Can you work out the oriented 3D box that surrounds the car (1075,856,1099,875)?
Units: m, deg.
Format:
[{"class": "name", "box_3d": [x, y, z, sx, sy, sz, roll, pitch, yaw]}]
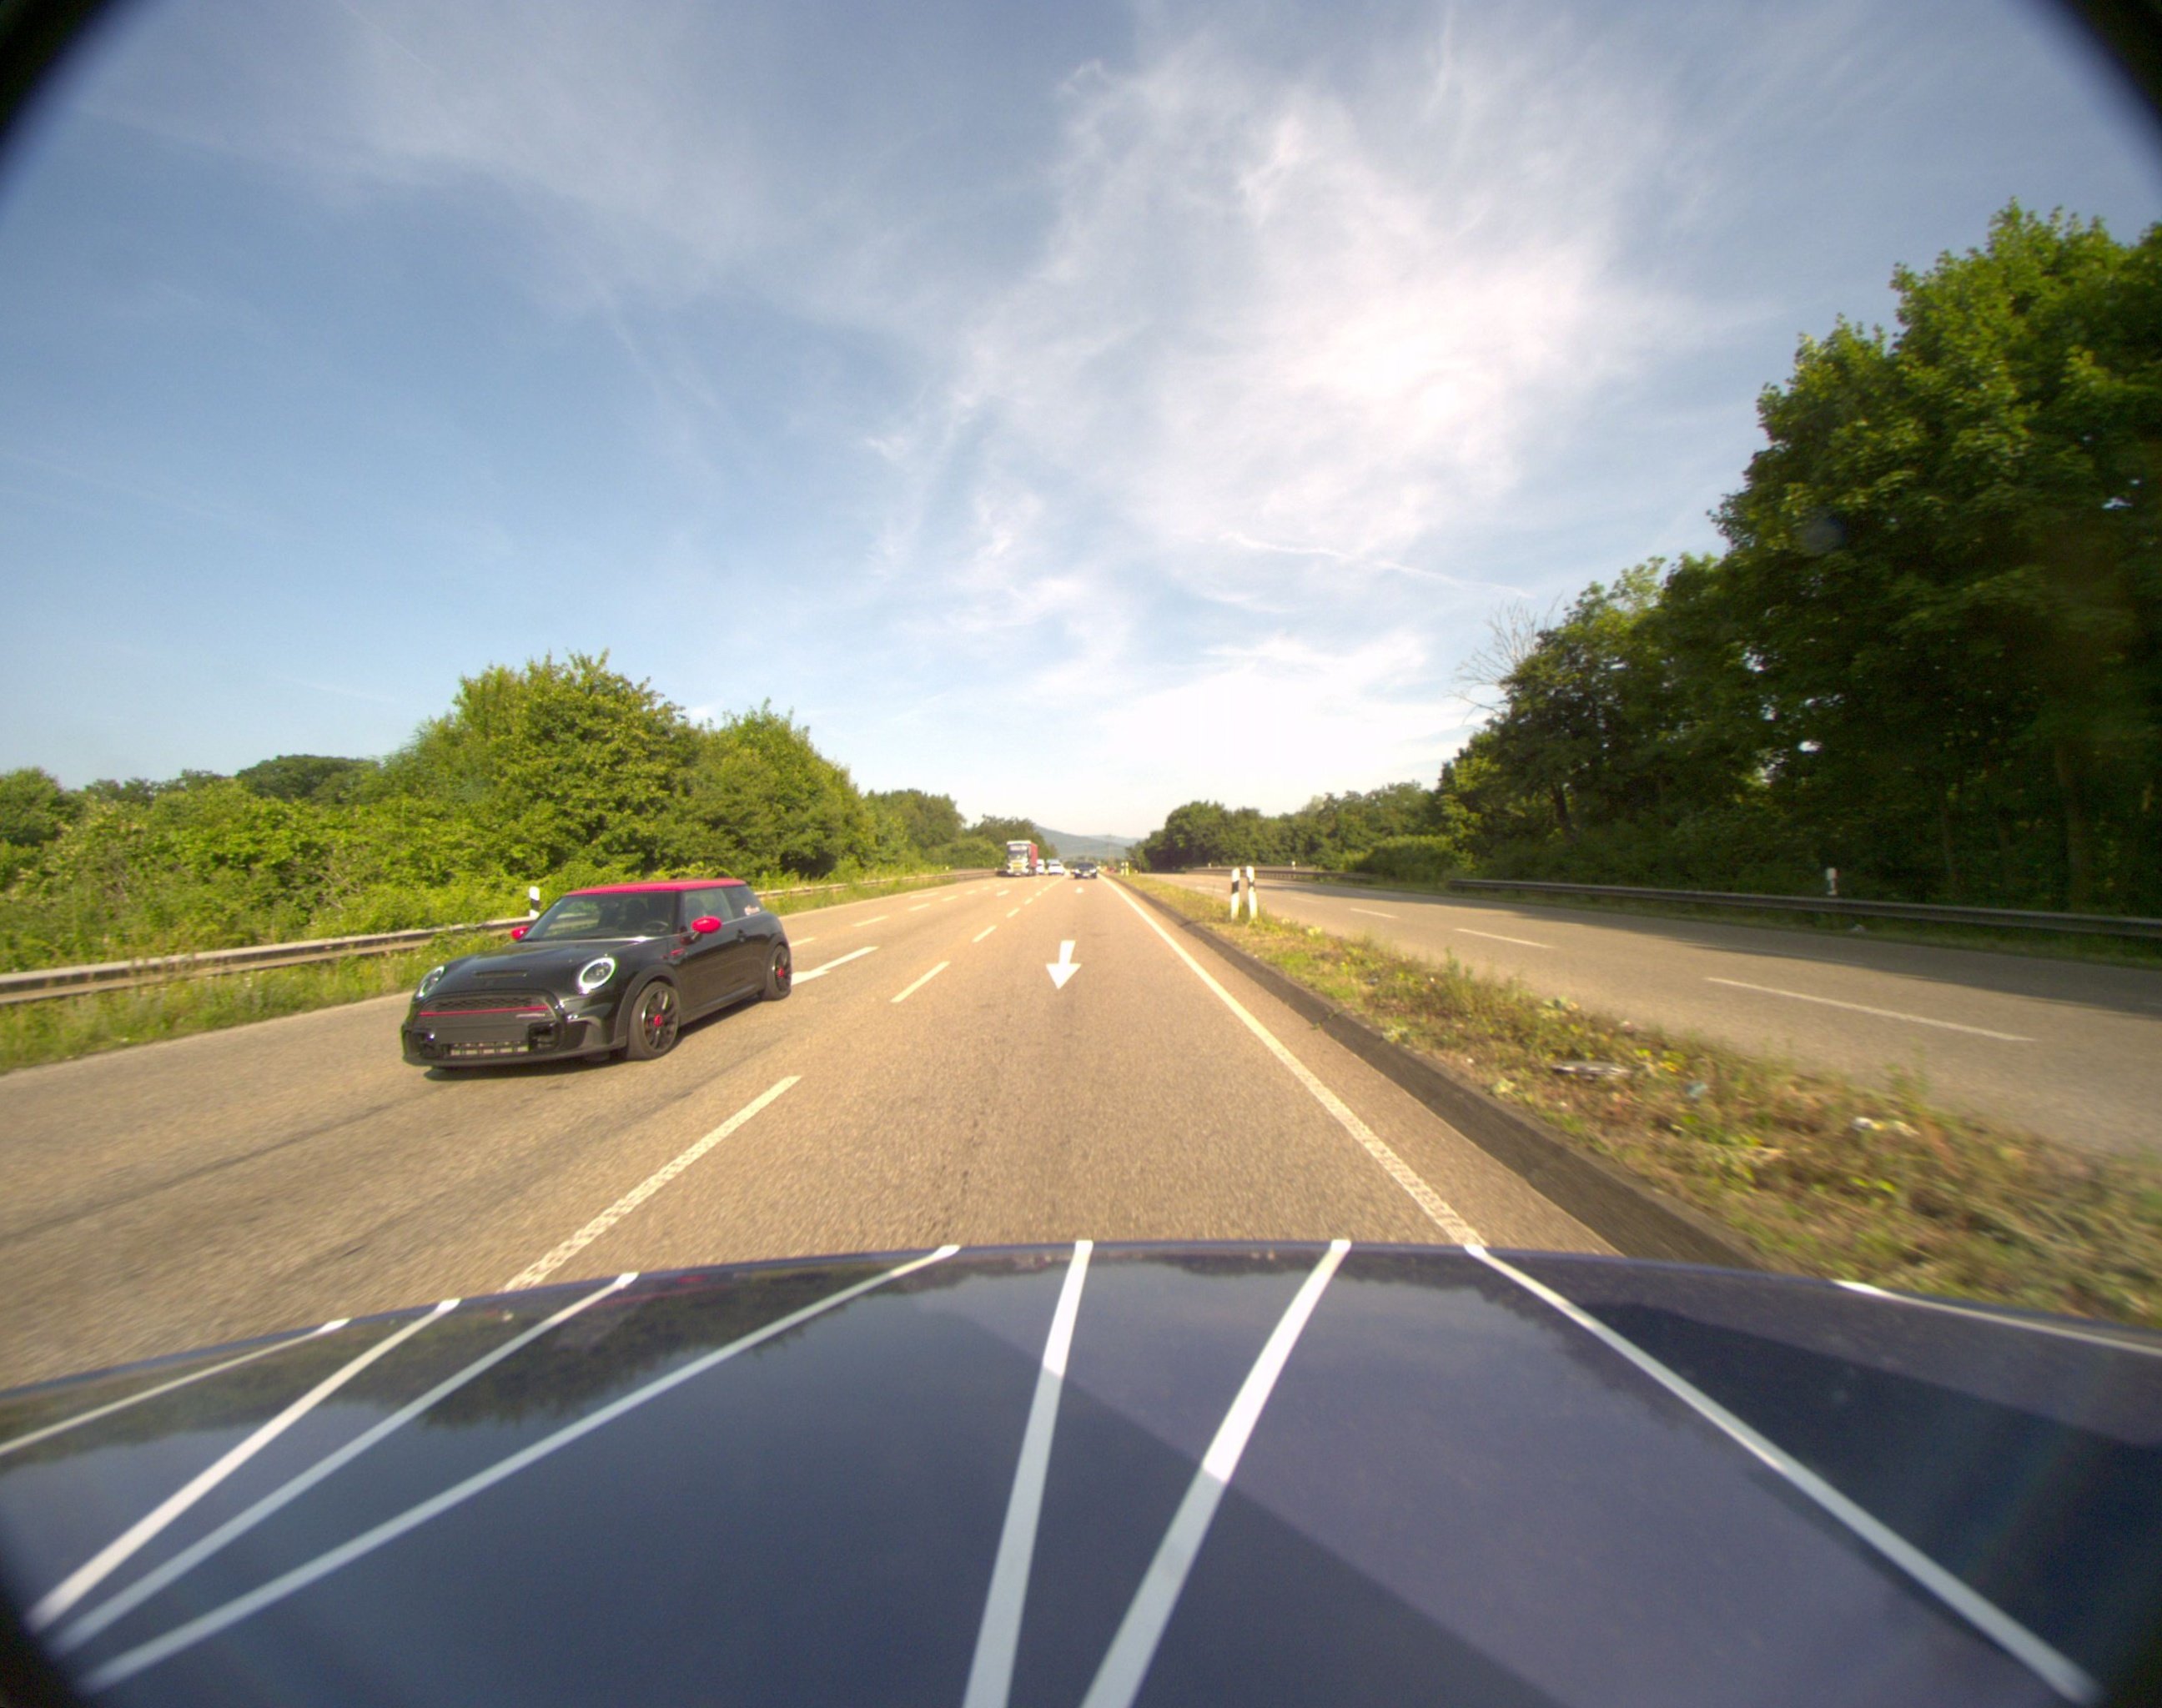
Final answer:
[{"class": "car", "box_3d": [0.466, 0.900, 63.442, 1.861, 1.452, 4.569, -2, 0, 0]}]

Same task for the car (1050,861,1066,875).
[{"class": "car", "box_3d": [-2.799, 1.686, 92.340, 1.875, 1.625, 4.833, 0, 0, -1]}]

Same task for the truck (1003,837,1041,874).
[{"class": "truck", "box_3d": [-6.836, 0.143, 90.613, 3.197, 3.995, 14.563, -2, 0, 0]}]

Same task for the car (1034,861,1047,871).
[{"class": "car", "box_3d": [-6.602, 1.924, 124.170, 1.875, 1.625, 4.833, 0, 0, -1]}]

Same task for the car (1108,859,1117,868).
[{"class": "car", "box_3d": [7.529, 2.275, 182.342, 1.999, 1.818, 4.618, -2, 0, 0]}]

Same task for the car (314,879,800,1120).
[{"class": "car", "box_3d": [-4.316, 1.062, 7.160, 1.824, 1.459, 3.872, -2, 0, 0]}]
